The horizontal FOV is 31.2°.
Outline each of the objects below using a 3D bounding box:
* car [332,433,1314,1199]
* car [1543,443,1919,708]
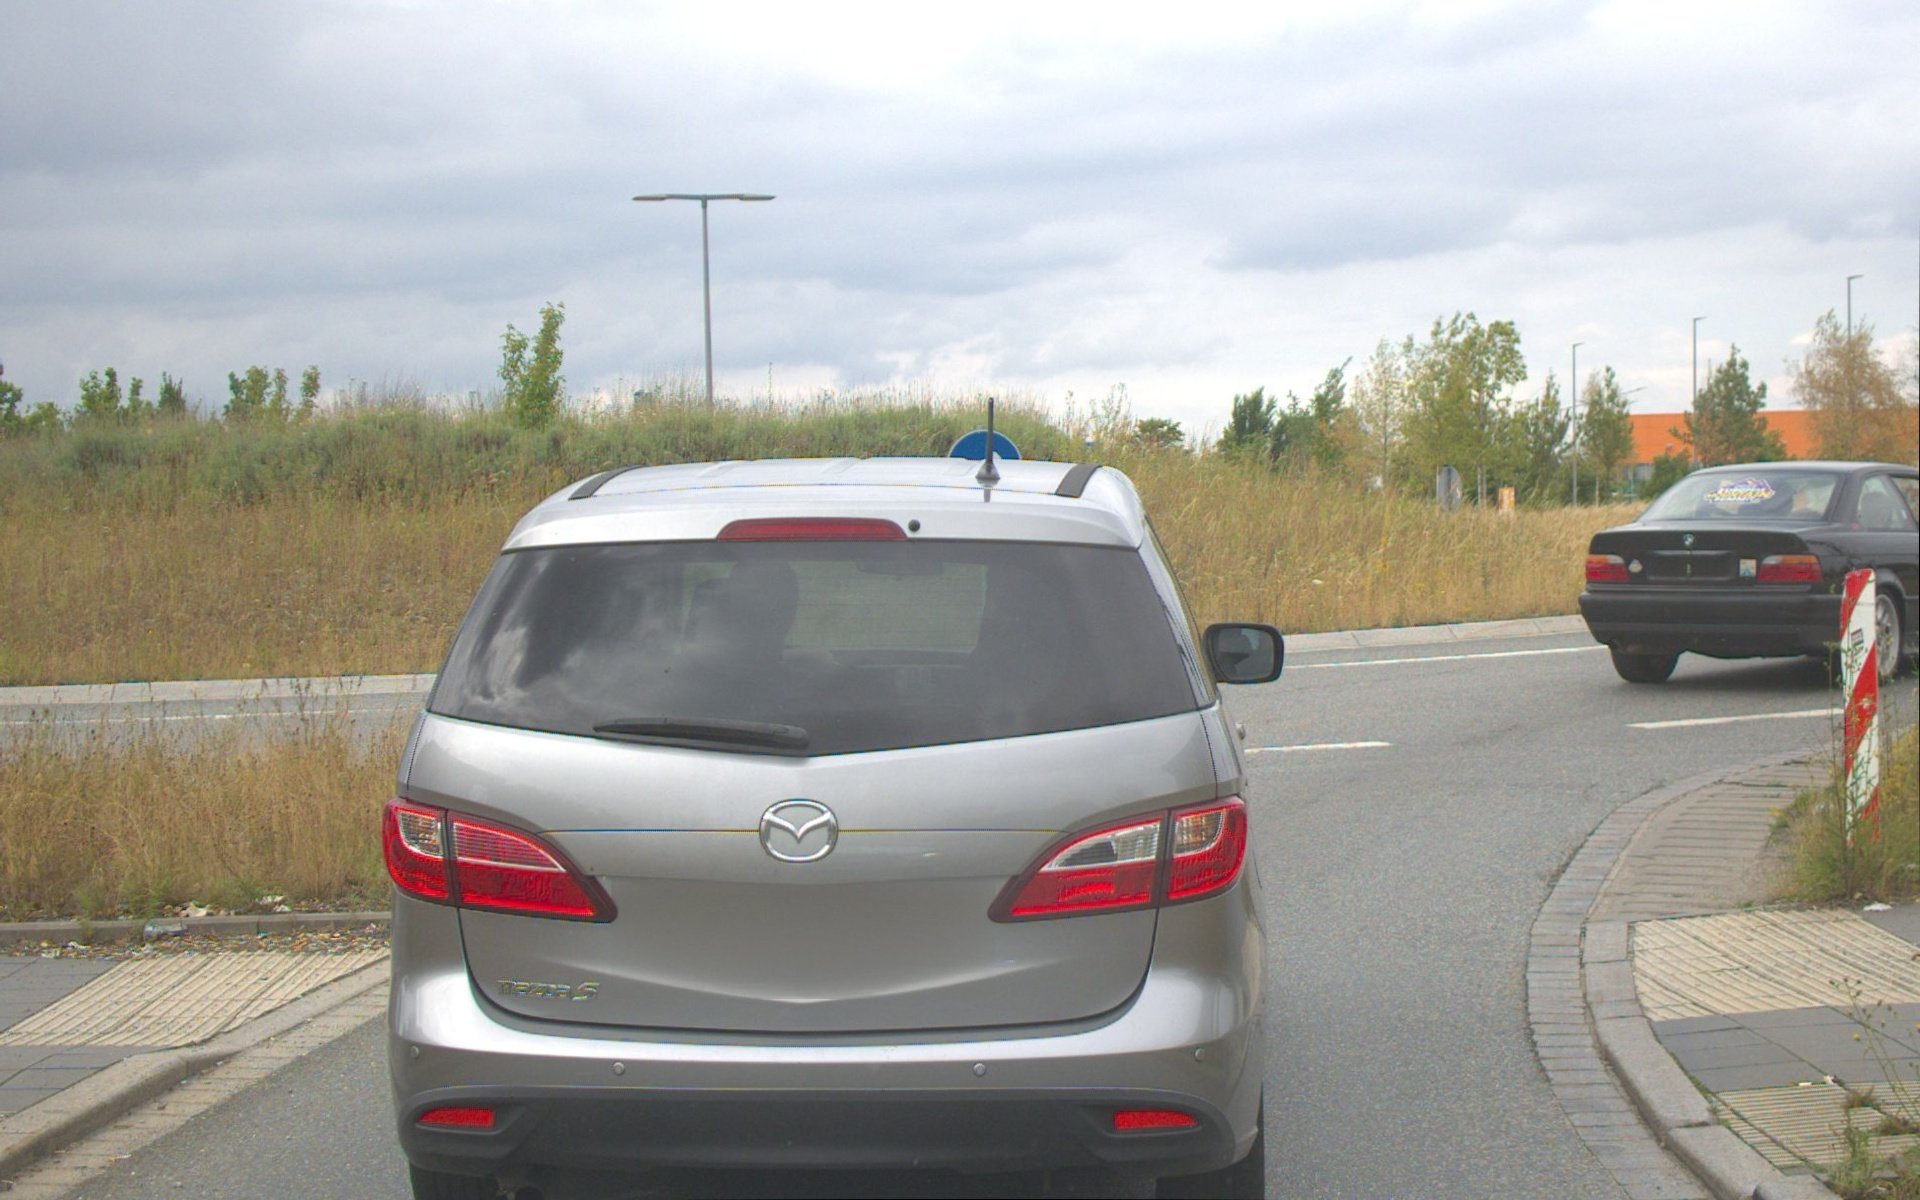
[{"bbox_3d":[-0.307,0.445,8.126,1.738,1.593,3.998,0,2,-2],"label":"car"},{"bbox_3d":[5.361,-0.230,21.399,1.742,1.398,3.989,3,5,37],"label":"car"}]
